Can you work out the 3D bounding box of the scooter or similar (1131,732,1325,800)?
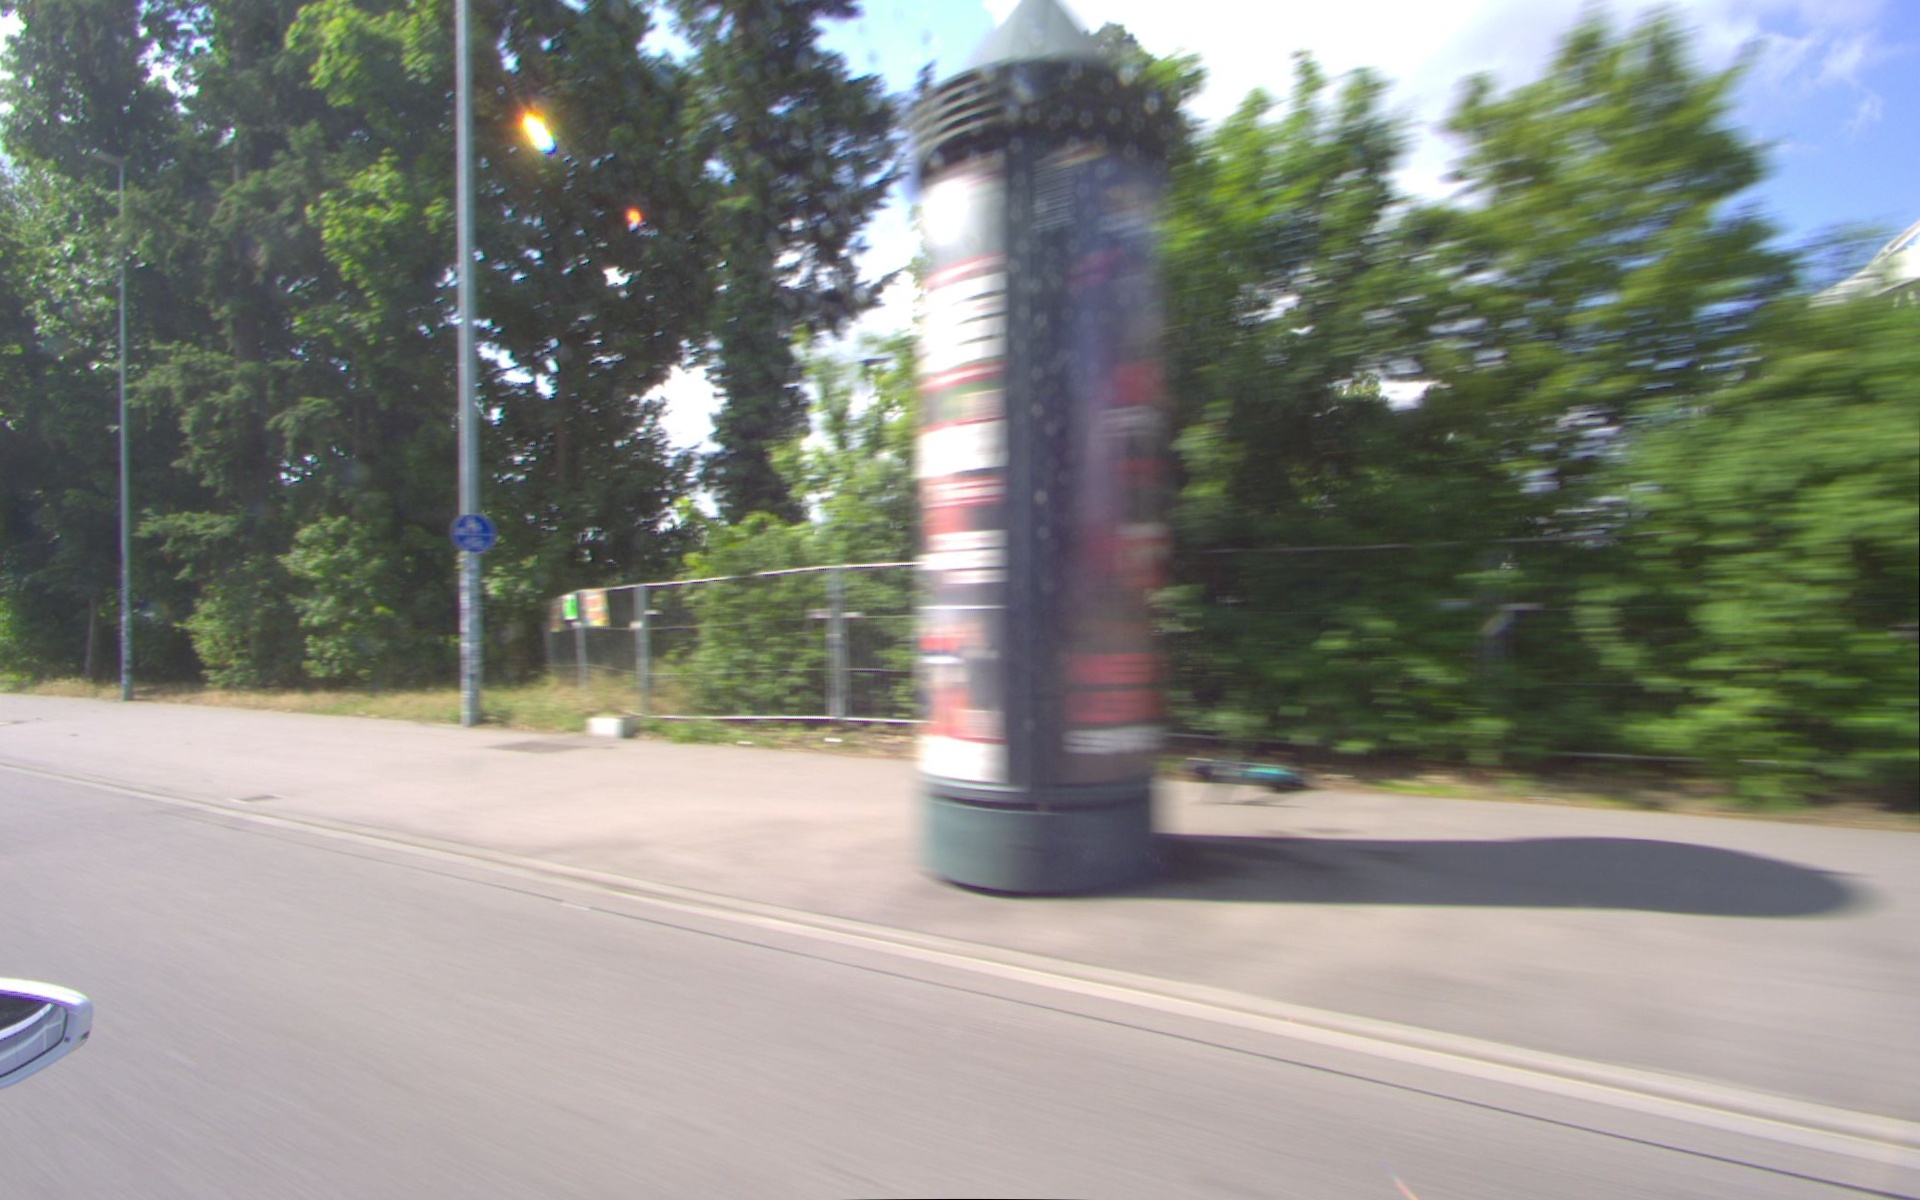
[{"bbox_3d":[2.328,1.419,8.694,1.452,0.394,0.851,-2,-1,31],"label":"scooter or similar"}]
